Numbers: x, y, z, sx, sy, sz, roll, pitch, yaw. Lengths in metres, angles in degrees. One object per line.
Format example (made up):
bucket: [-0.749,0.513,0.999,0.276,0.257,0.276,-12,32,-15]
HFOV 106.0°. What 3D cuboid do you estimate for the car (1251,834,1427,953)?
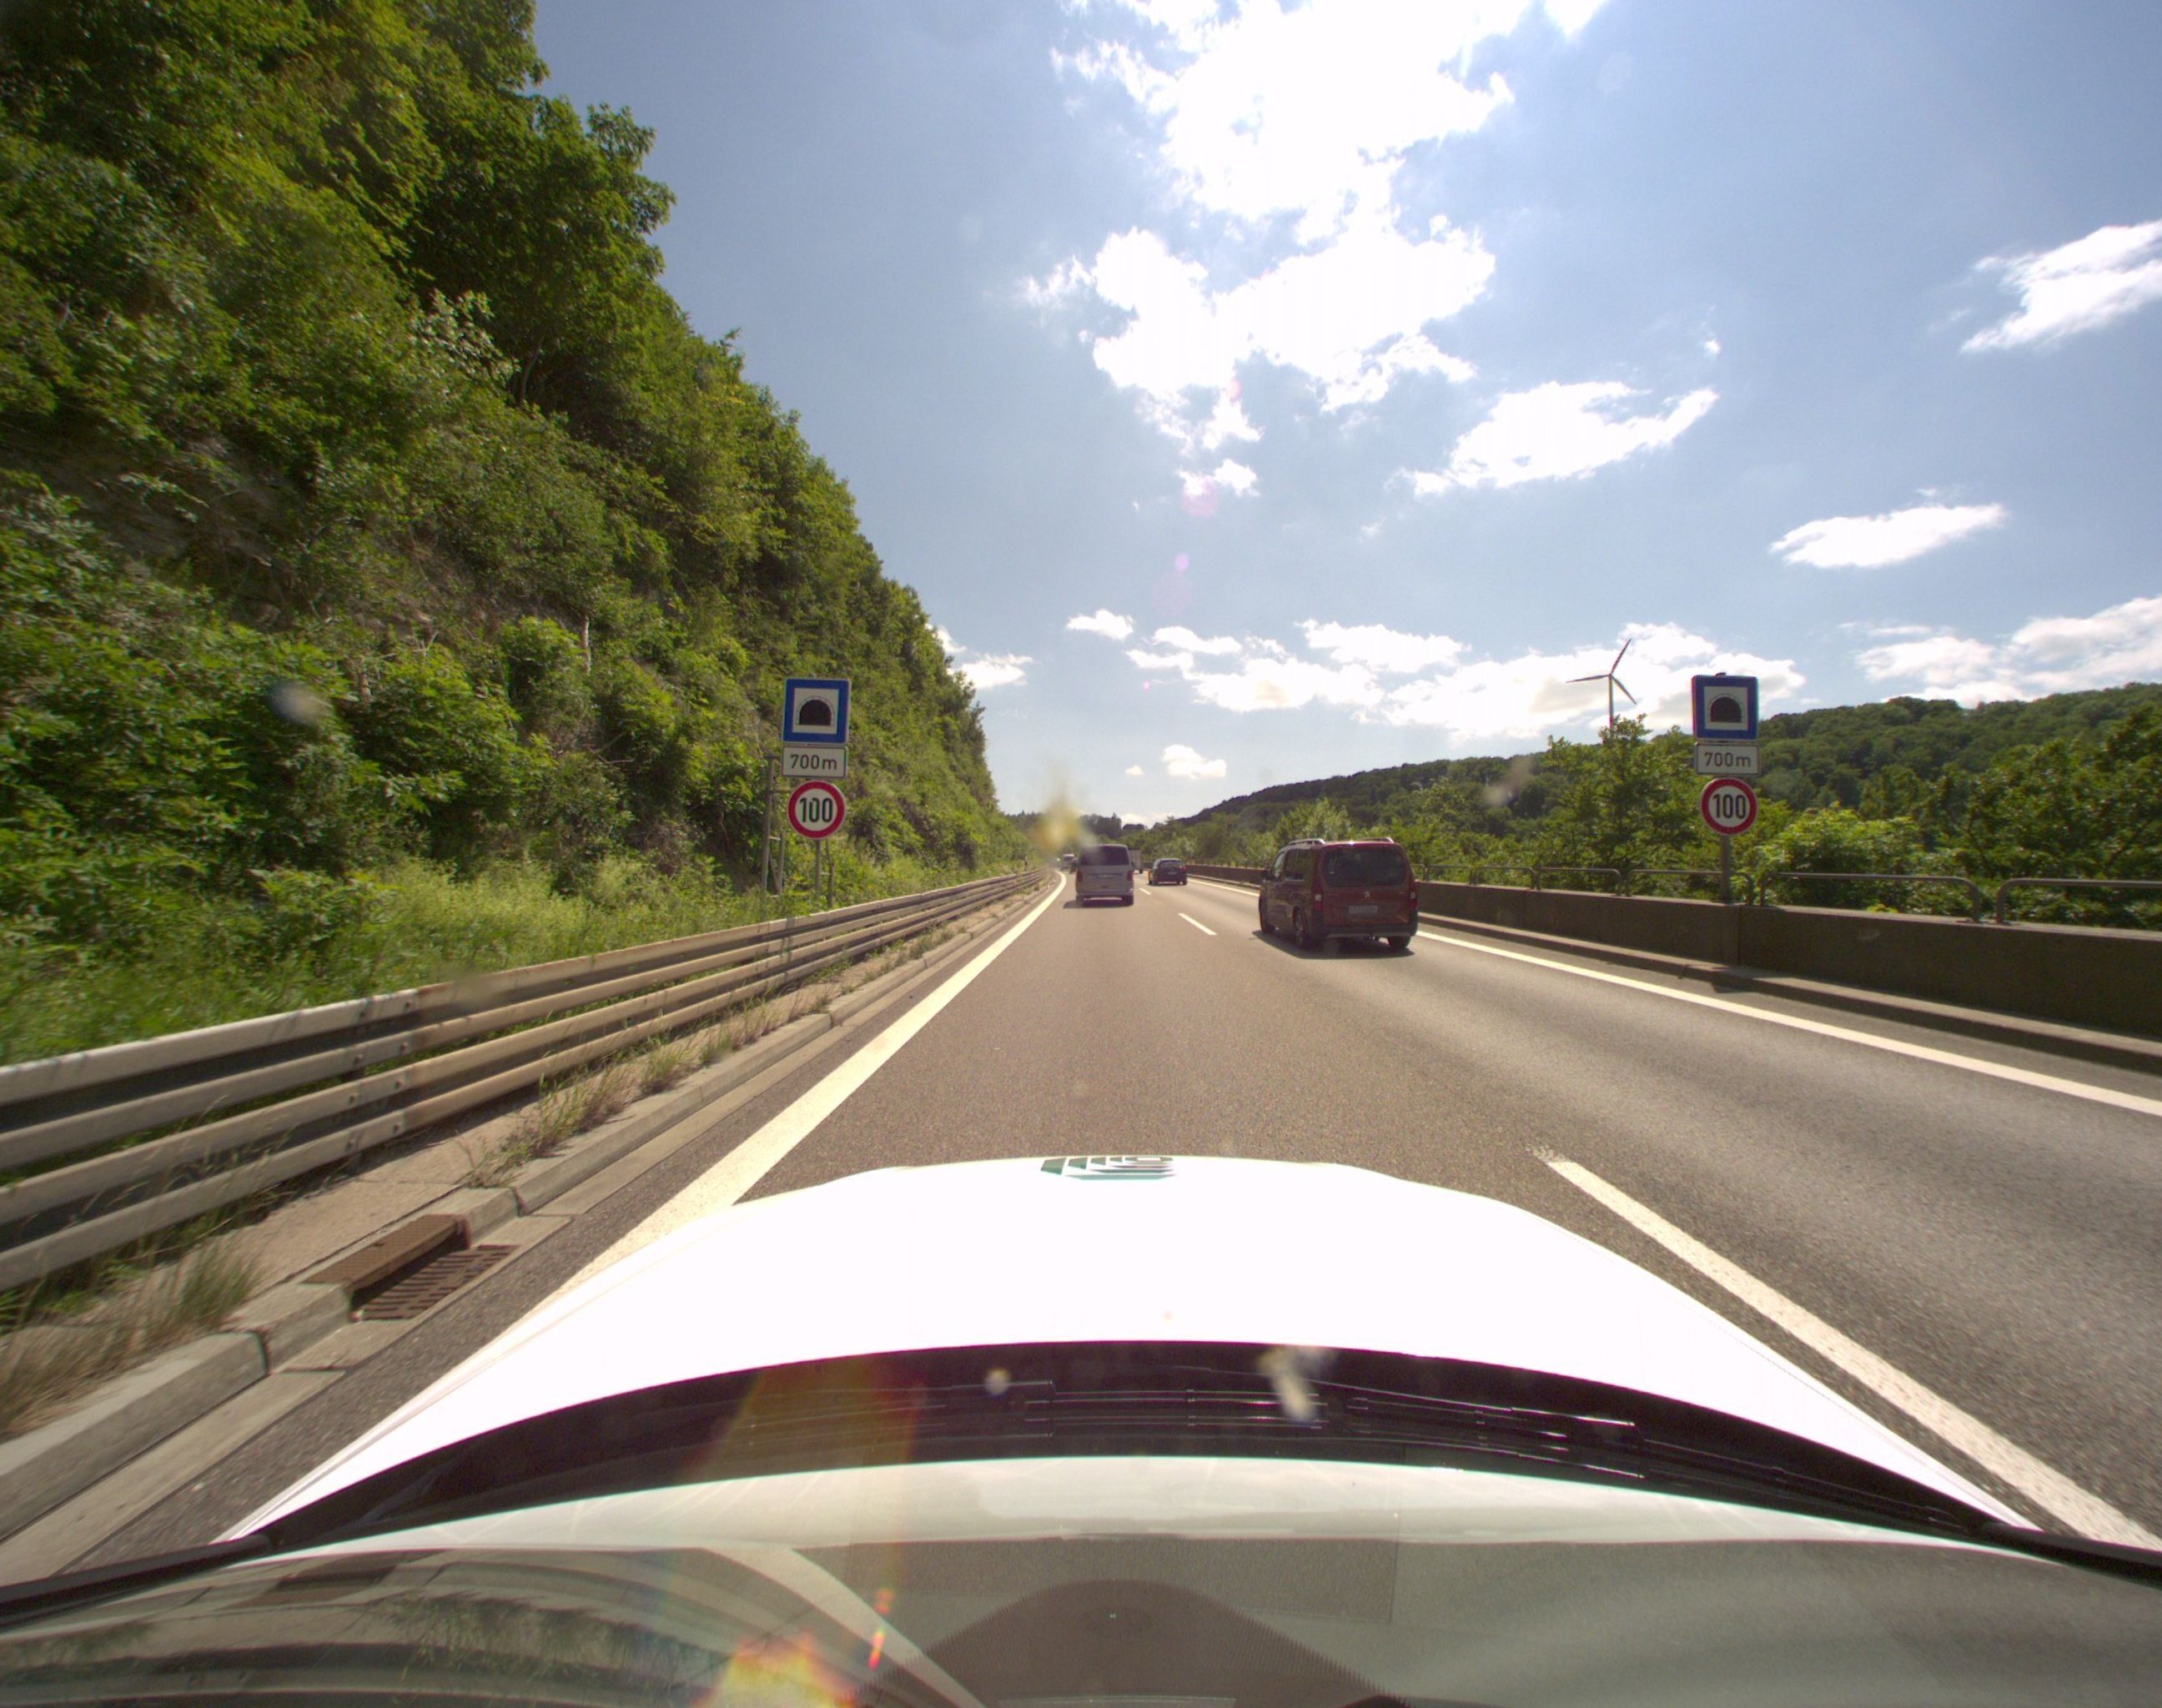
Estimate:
car: [4.467,0.641,14.929,1.826,1.784,4.677,-2,-1,2]

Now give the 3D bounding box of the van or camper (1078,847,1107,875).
van or camper: [1.512,0.948,113.268,3.270,3.789,8.099,-1,0,-4]

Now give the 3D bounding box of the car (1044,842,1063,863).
car: [-6.495,-0.309,189.800,4.035,4.871,10.096,-1,0,-3]

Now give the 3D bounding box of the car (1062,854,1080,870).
car: [-1.195,0.931,95.232,1.987,1.817,4.000,-1,0,1]

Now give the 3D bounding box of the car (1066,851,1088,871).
car: [-0.404,0.659,79.319,1.988,1.817,3.998,-1,0,-1]

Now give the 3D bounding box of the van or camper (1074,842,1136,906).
van or camper: [0.750,0.640,27.484,1.869,1.949,4.293,-2,0,0]

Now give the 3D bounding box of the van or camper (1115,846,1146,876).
van or camper: [4.473,0.665,74.312,2.258,2.551,4.732,-2,-1,-3]

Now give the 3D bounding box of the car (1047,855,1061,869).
car: [-3.848,1.140,117.502,1.988,1.915,3.998,-1,0,-1]

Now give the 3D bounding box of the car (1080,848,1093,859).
car: [0.980,-0.142,148.376,1.990,2.013,3.994,-1,0,-4]

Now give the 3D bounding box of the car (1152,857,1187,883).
car: [4.818,0.836,44.577,1.761,1.376,3.596,-1,0,4]

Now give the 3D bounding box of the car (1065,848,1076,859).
car: [-2.071,-0.046,160.435,1.988,2.013,3.997,-1,0,-2]
